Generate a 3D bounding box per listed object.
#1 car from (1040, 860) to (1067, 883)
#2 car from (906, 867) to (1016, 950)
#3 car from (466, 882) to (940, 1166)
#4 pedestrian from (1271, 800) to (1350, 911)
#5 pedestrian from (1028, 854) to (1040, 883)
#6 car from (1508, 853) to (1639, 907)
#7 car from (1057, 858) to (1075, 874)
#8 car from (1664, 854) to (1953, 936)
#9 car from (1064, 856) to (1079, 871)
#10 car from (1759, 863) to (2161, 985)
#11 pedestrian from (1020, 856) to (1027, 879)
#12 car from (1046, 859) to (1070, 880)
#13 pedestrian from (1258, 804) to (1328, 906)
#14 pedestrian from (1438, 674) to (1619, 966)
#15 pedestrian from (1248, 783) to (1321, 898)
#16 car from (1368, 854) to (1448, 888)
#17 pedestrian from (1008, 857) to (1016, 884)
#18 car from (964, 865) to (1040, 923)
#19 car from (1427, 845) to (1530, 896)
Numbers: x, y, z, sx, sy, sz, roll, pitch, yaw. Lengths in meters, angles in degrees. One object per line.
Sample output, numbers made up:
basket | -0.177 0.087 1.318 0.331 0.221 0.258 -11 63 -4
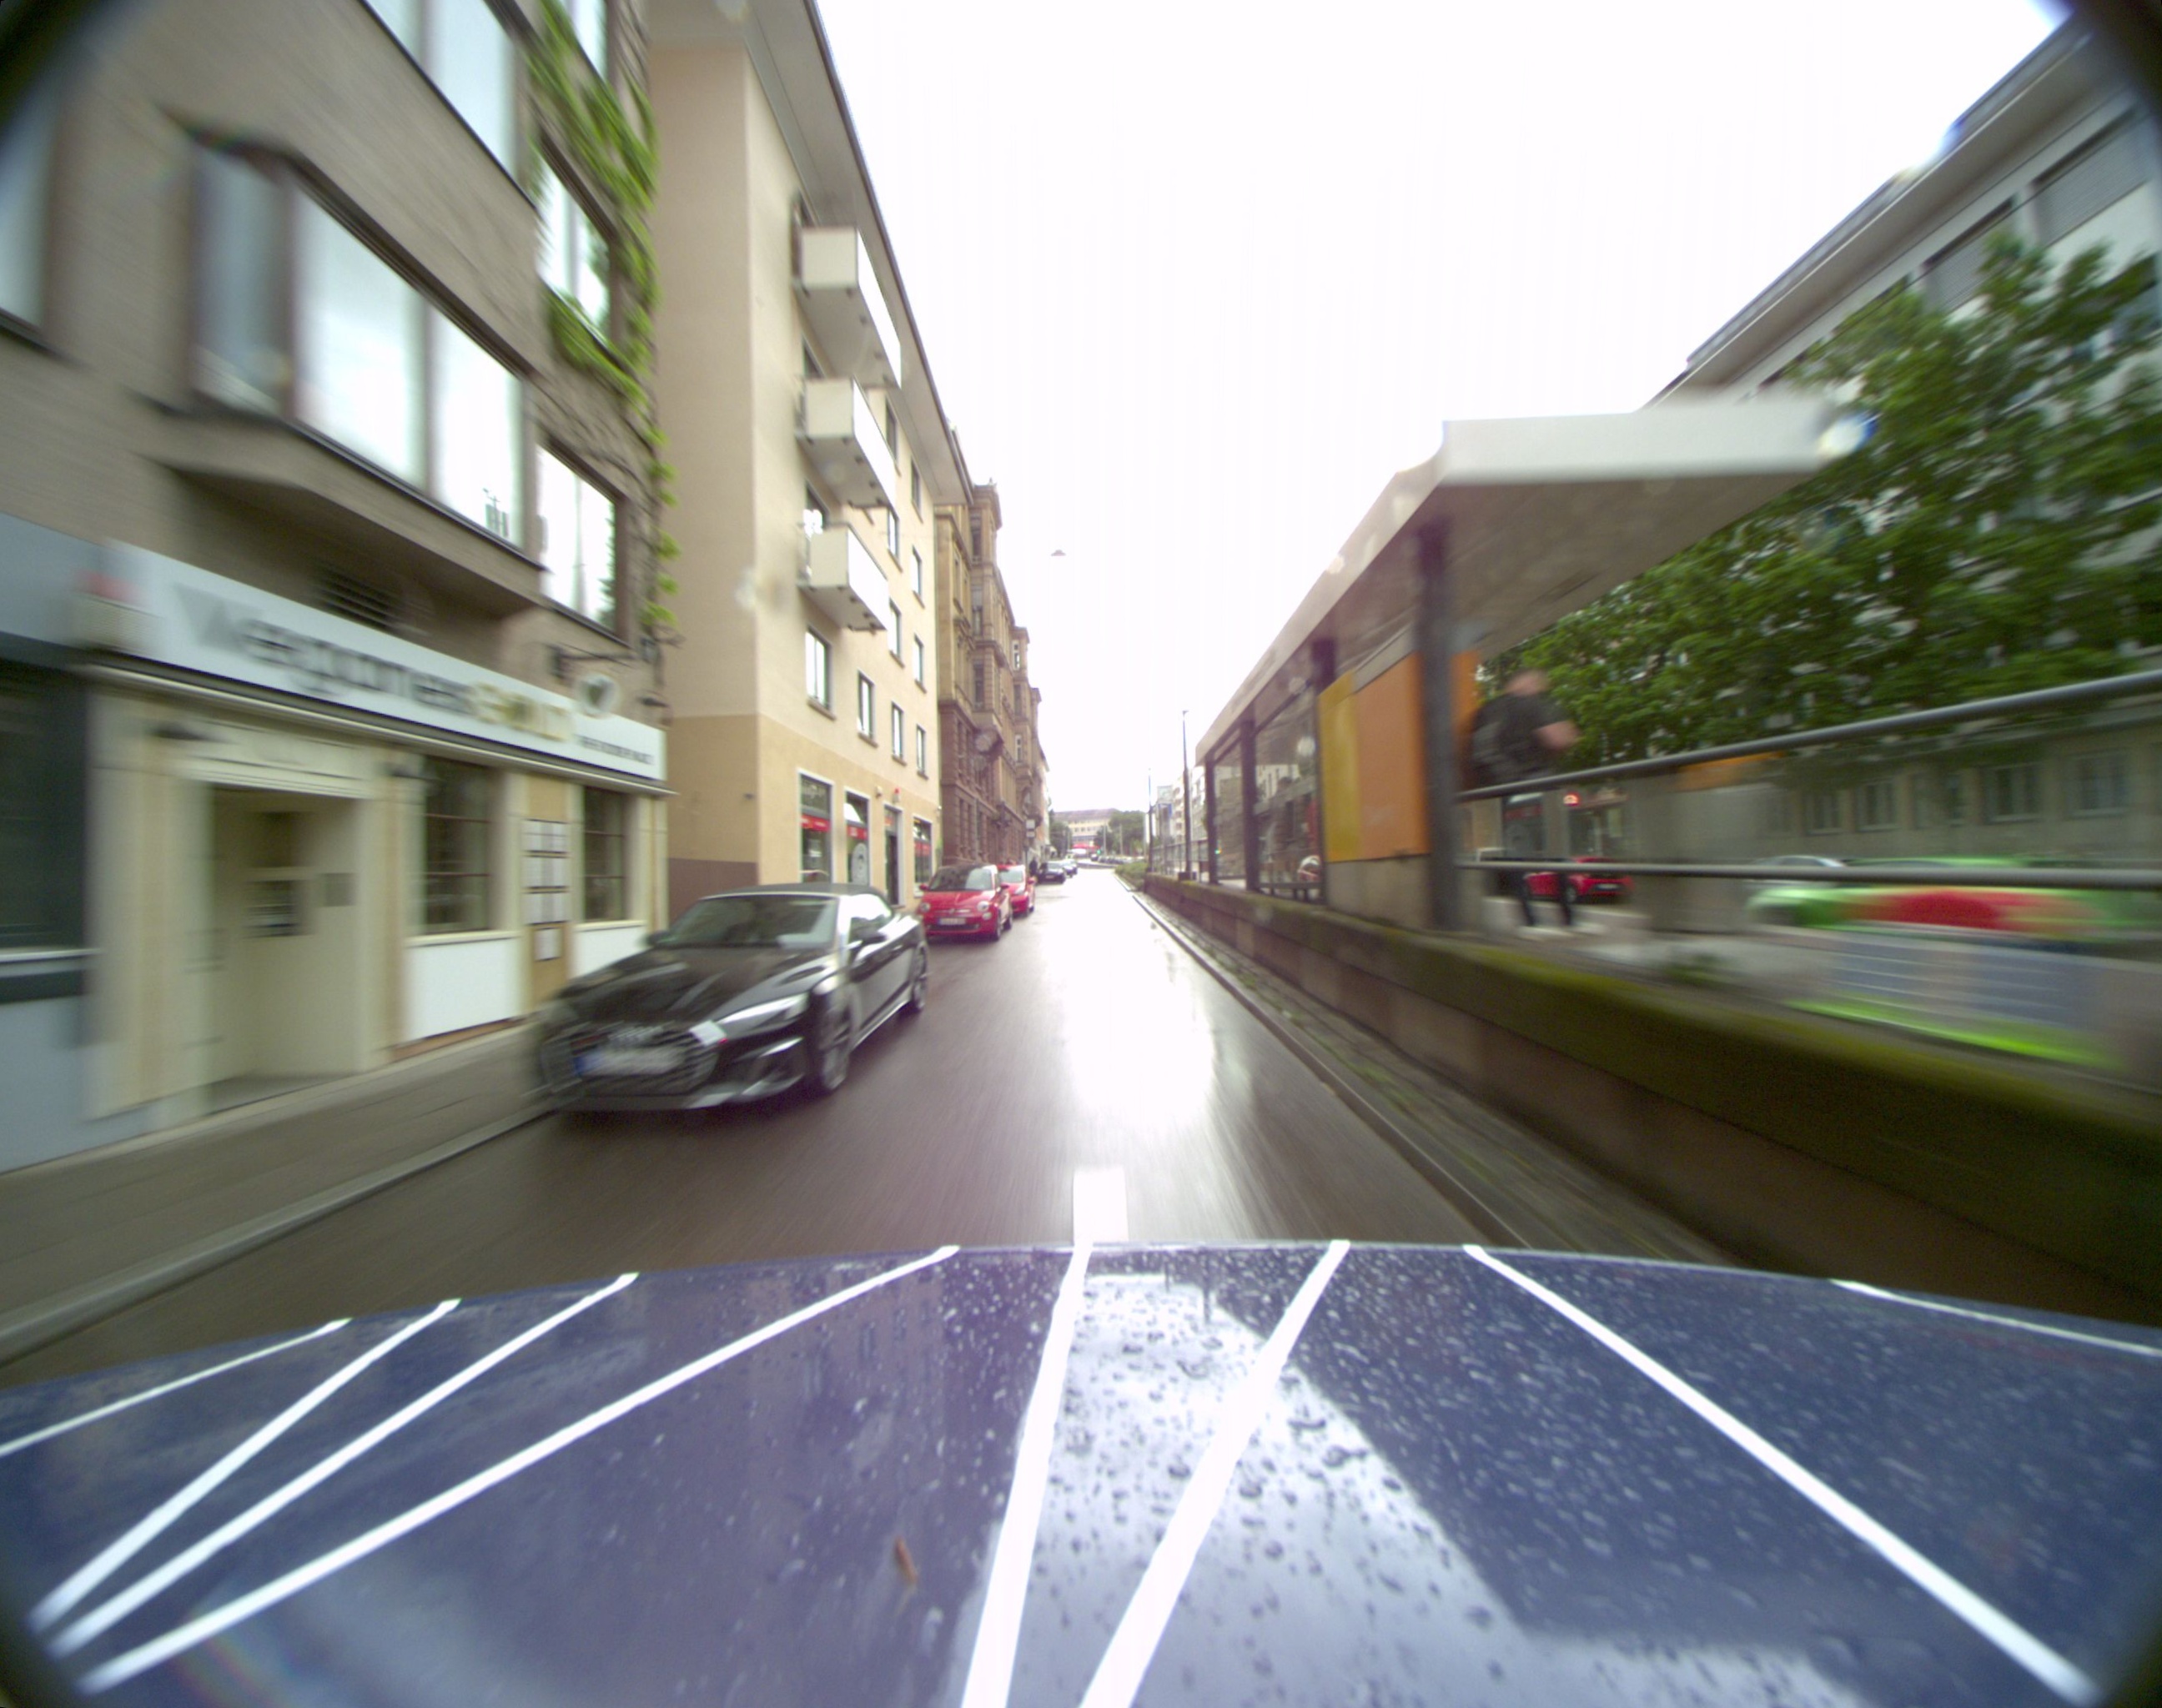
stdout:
car | -1.770 1.117 49.403 1.628 1.343 3.829 -1 0 -1
car | -2.378 1.046 15.826 1.649 1.453 3.414 -1 0 1
car | -2.594 1.070 6.548 1.911 1.453 4.245 -1 0 0
pedestrian | 2.773 0.016 9.230 0.730 1.294 0.701 -1 1 -1
pedestrian | -2.829 0.874 45.715 0.653 1.752 0.882 -1 1 -3
car | 15.389 0.750 23.989 1.643 1.530 3.803 -1 0 0
car | -1.297 1.049 66.743 1.588 1.343 3.977 -1 0 -1
car | 15.000 0.738 16.109 1.696 1.453 4.529 -1 0 -2
car | -1.000 1.004 81.454 1.588 1.442 3.978 -1 0 0
car | 12.062 0.839 10.722 1.643 1.330 3.735 -1 0 -1
pedestrian | -4.192 0.968 55.576 0.485 1.635 0.464 -1 1 -3
car | -1.645 1.119 55.491 1.588 1.405 3.829 -1 0 -1
pedestrian | 2.775 0.013 9.988 0.729 1.294 0.701 -1 1 0
pedestrian | 2.758 -0.198 4.752 0.712 1.684 0.701 -1 1 -1
pedestrian | 3.119 -0.202 11.706 0.919 1.714 0.701 -1 1 -1
car | 15.131 0.721 35.417 1.643 1.432 4.729 -1 0 0
pedestrian | -4.144 0.983 45.679 0.489 1.635 0.631 -1 1 -3
car | -2.202 1.087 22.022 1.720 1.453 3.445 -1 0 1
car | 15.337 0.574 29.591 1.678 1.806 4.432 -1 0 0
